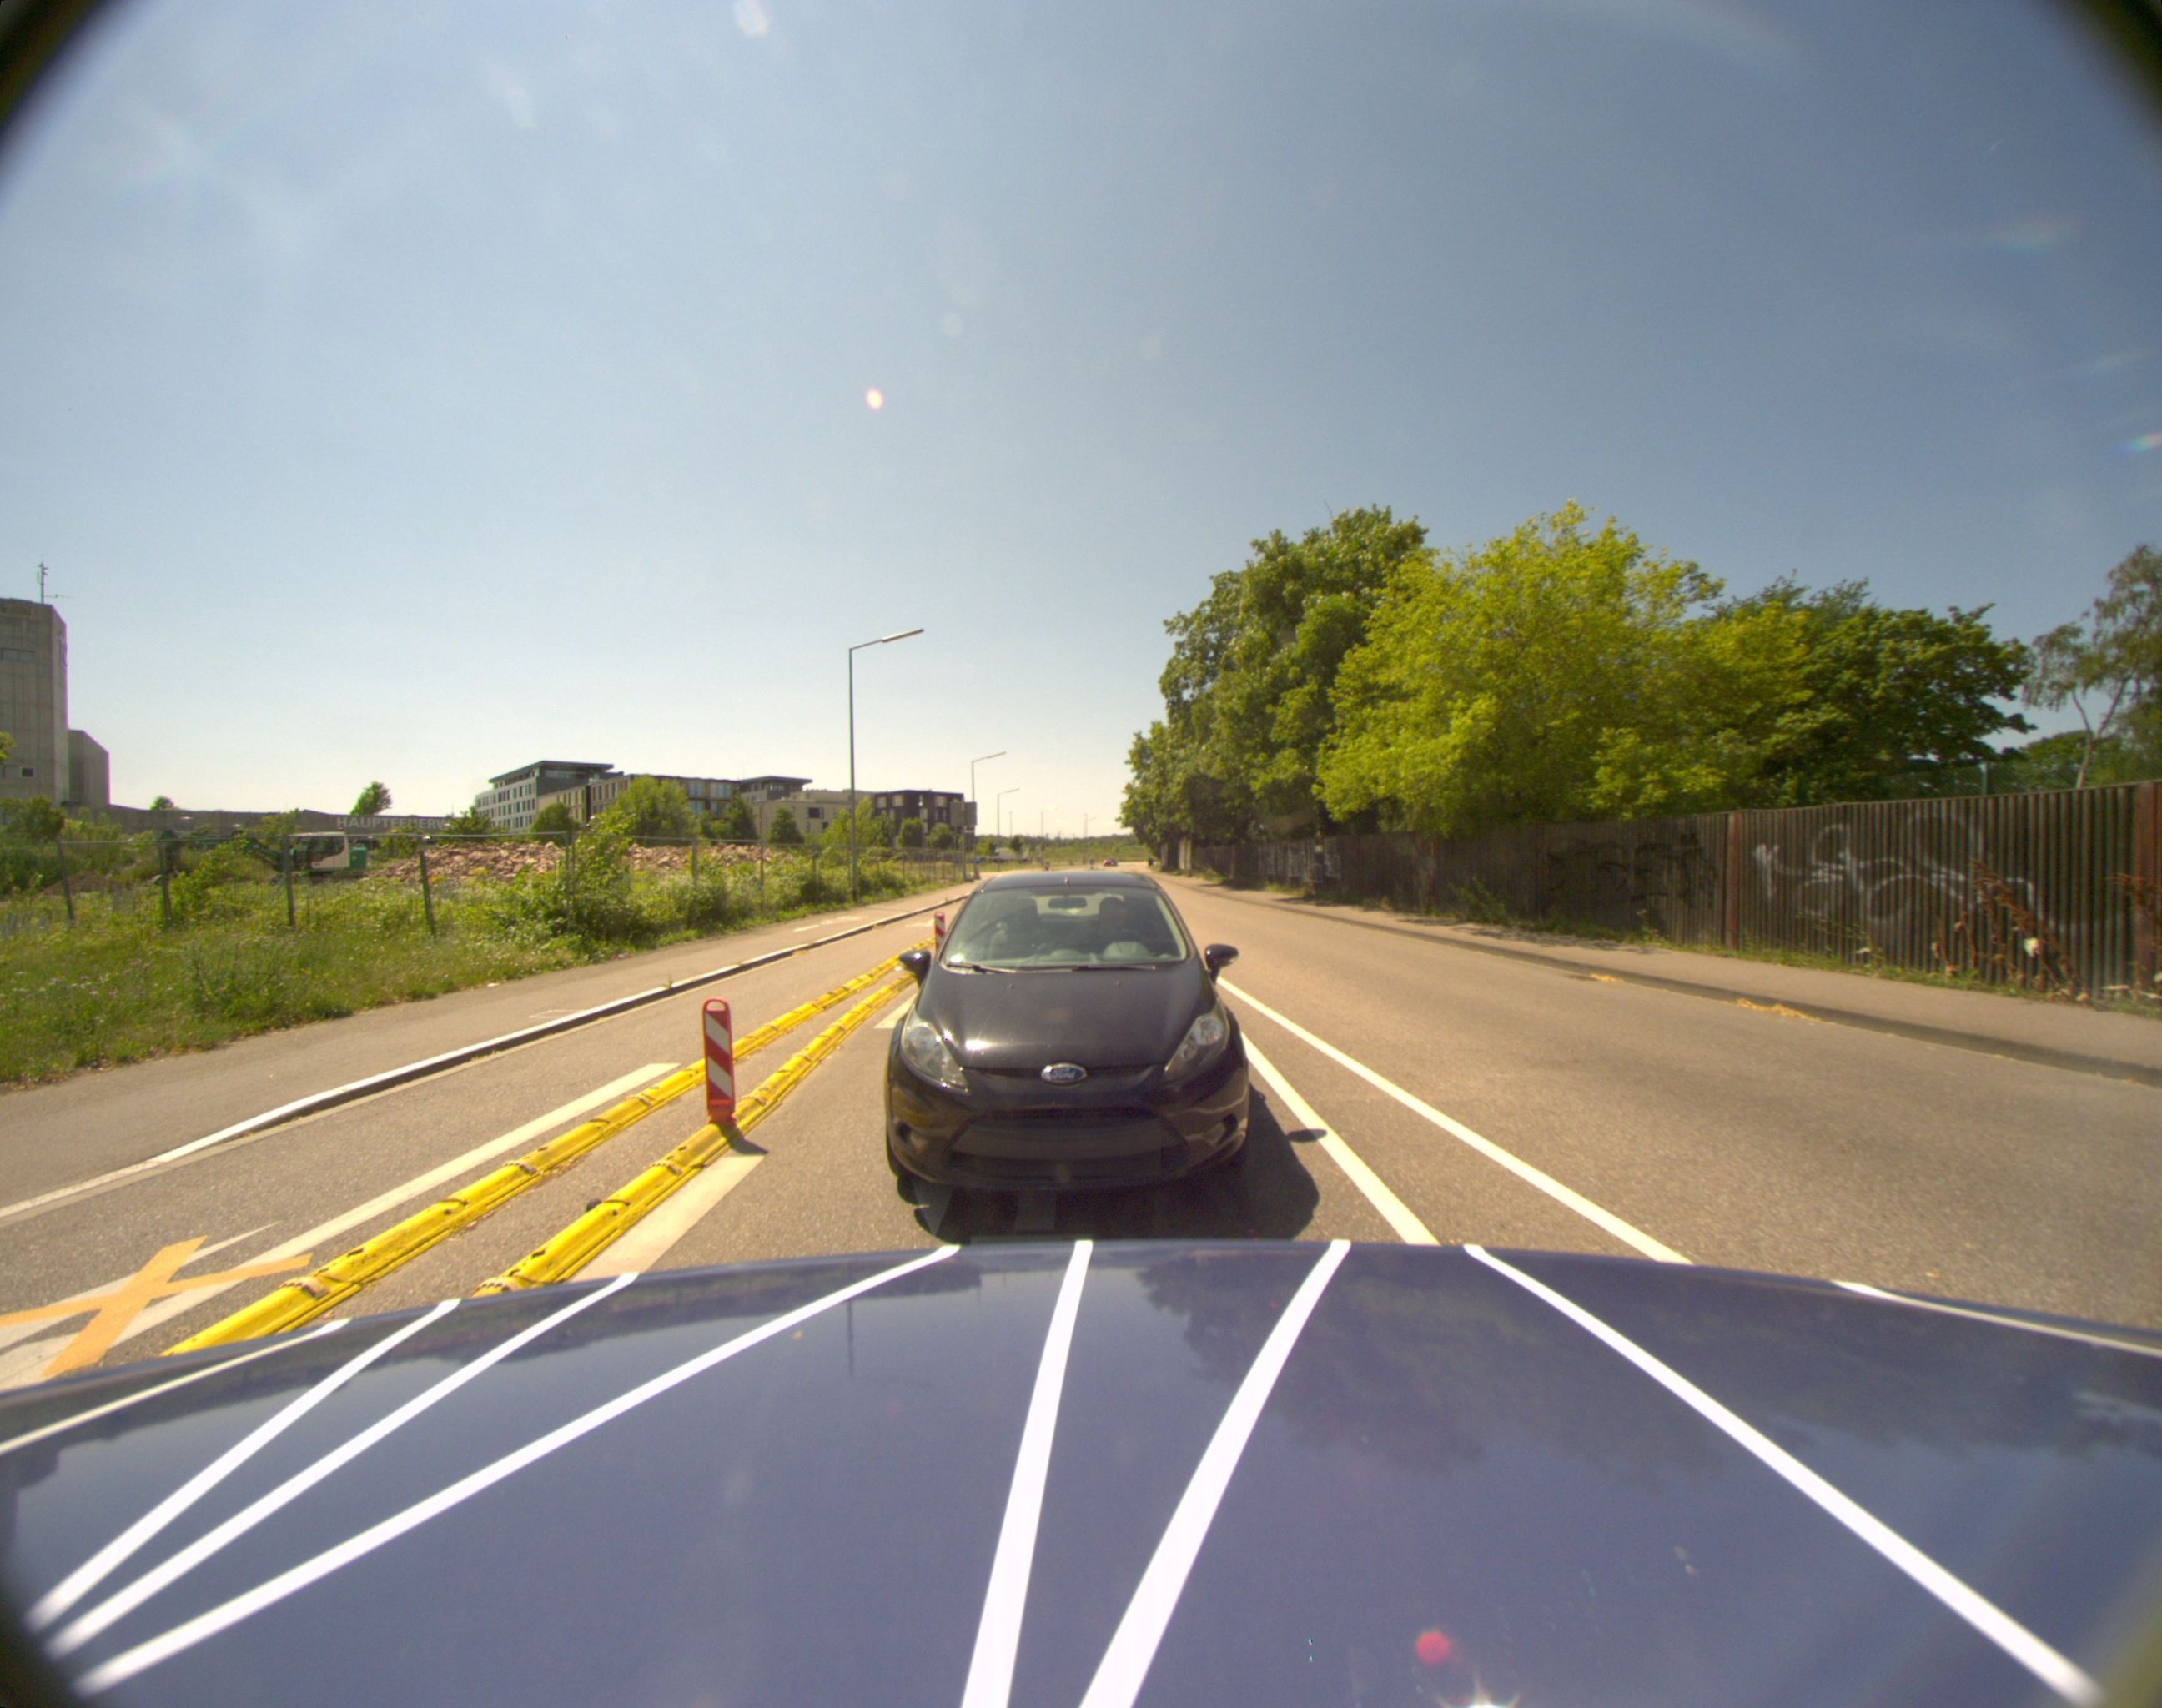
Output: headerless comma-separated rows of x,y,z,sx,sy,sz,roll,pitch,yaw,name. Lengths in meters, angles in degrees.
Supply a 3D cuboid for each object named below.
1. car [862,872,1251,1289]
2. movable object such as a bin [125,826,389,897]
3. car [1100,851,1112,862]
-0.071,0.978,5.090,1.528,1.510,3.999,-2,1,1,car
-38.358,0.264,35.904,3.231,2.899,7.702,-2,1,15,movable object such as a bin
4.325,0.430,131.345,1.924,1.643,4.668,-2,1,1,car
